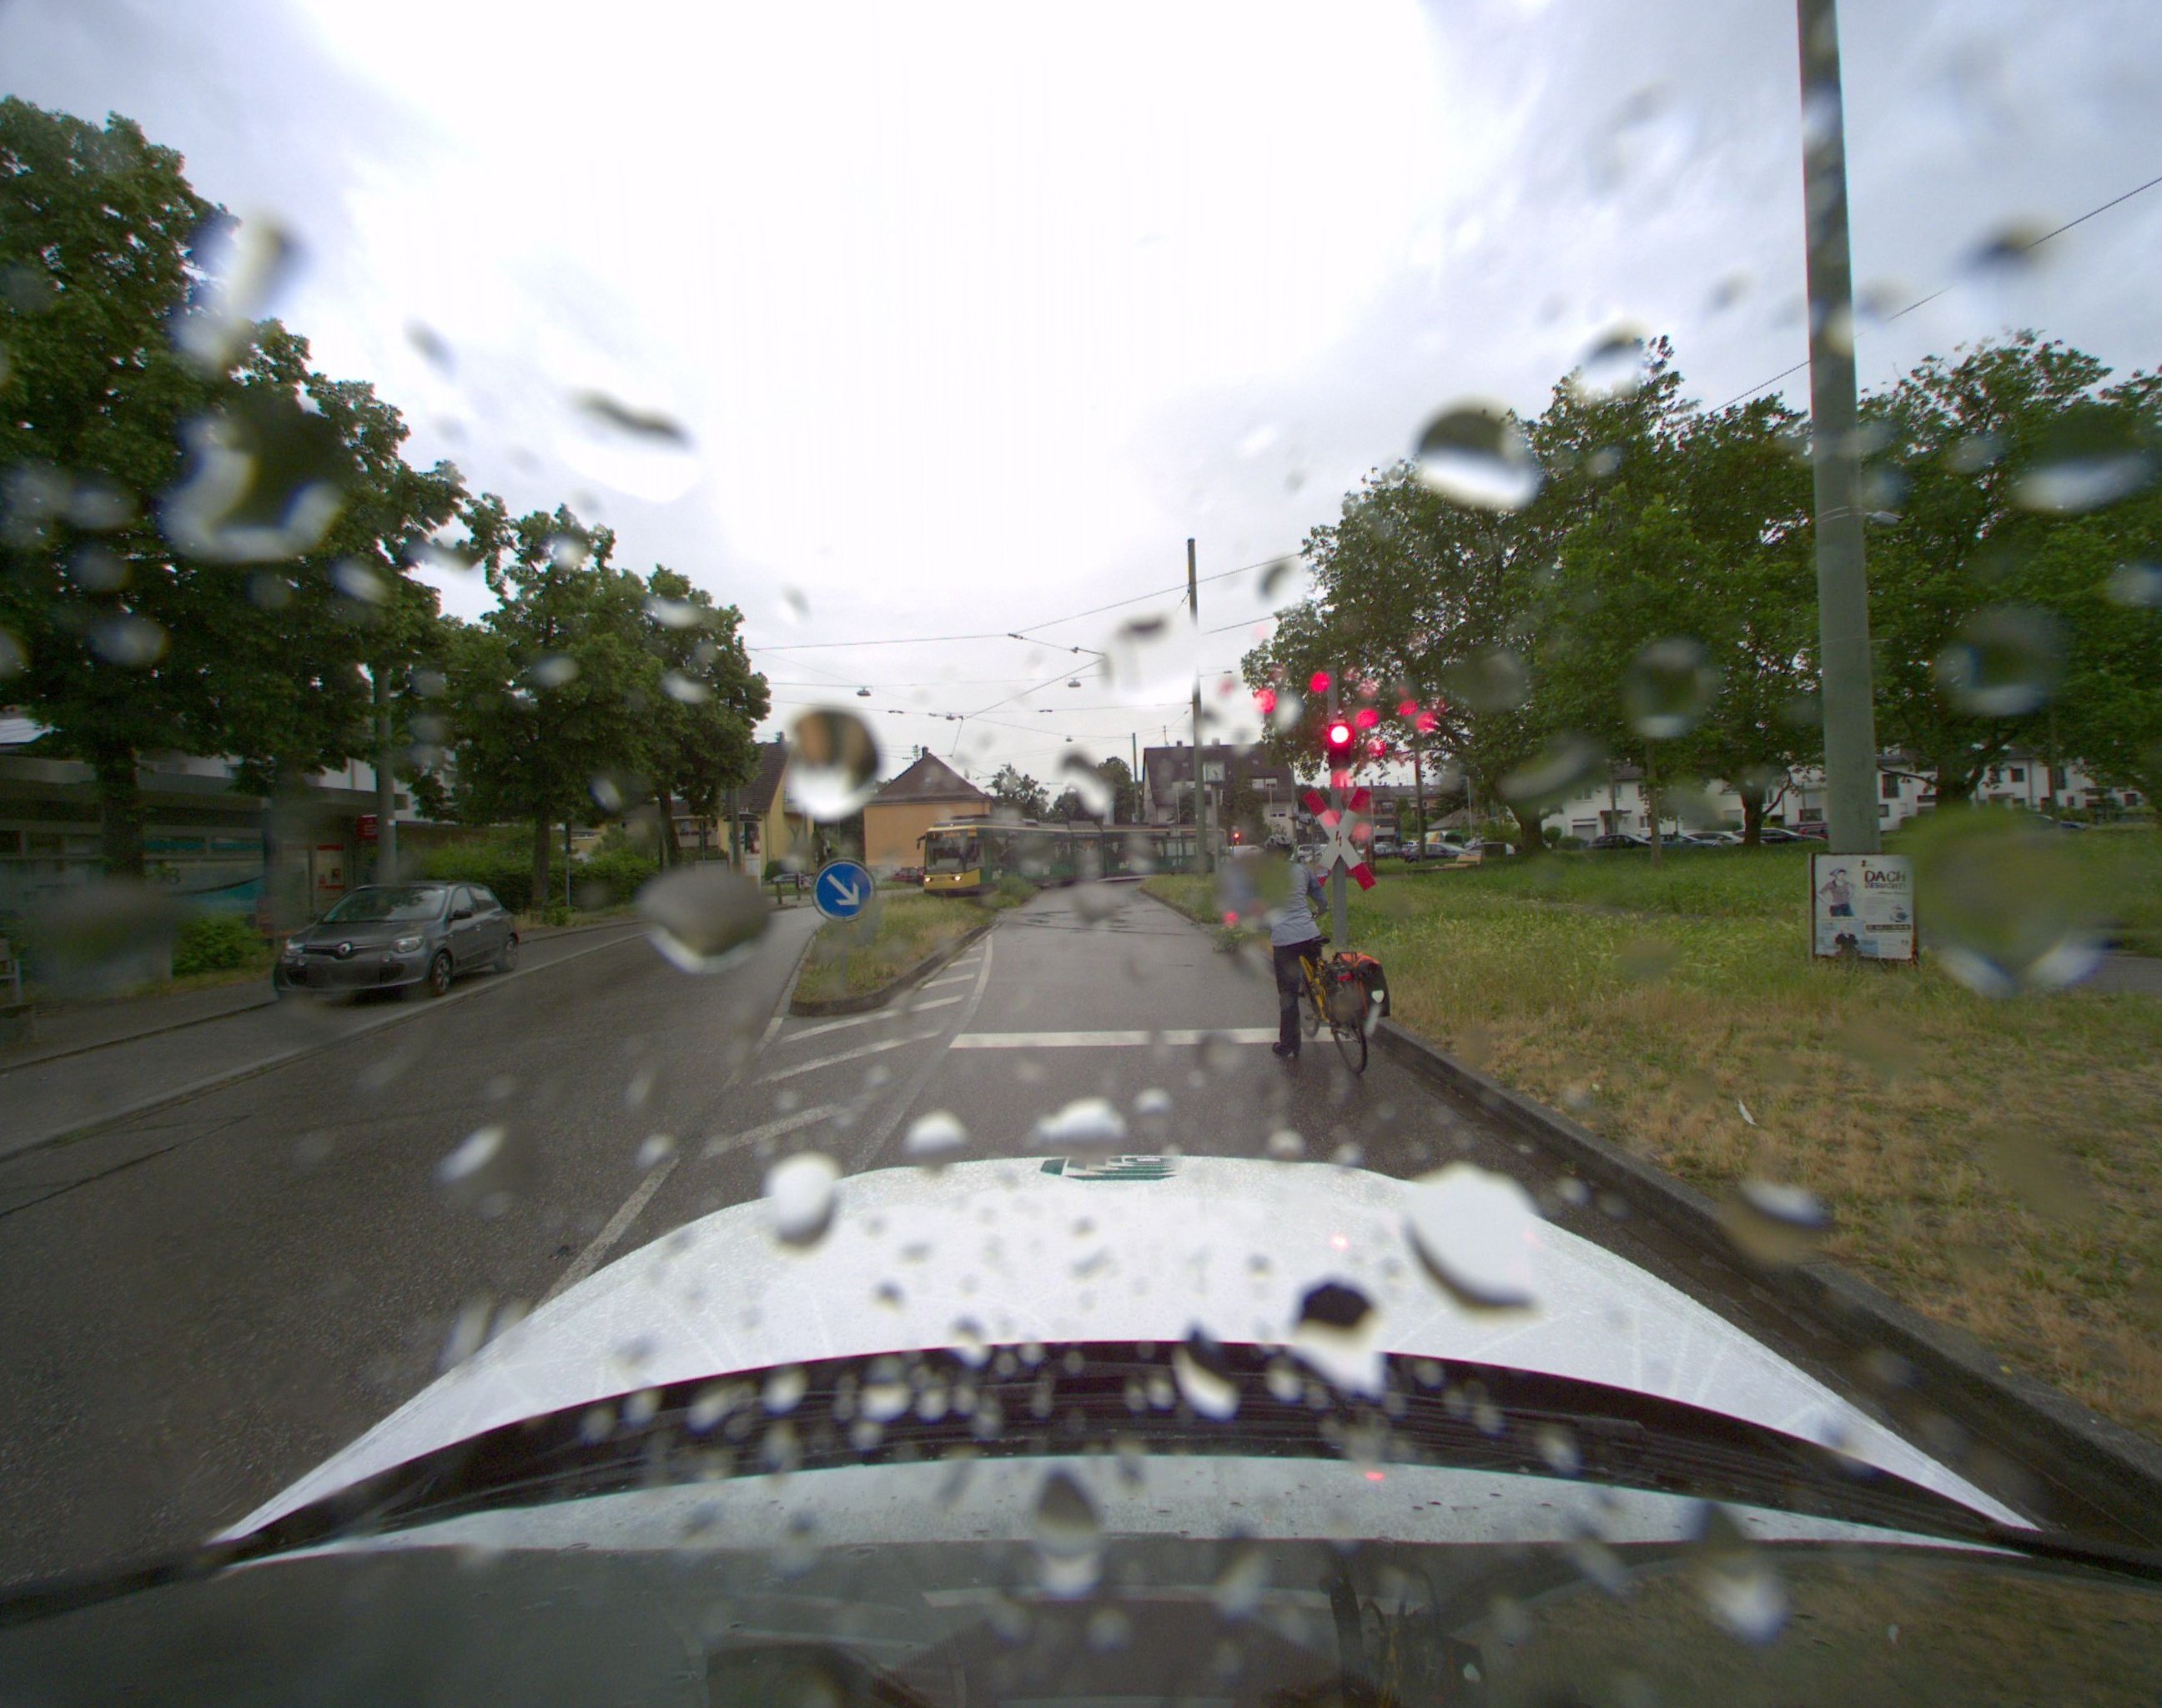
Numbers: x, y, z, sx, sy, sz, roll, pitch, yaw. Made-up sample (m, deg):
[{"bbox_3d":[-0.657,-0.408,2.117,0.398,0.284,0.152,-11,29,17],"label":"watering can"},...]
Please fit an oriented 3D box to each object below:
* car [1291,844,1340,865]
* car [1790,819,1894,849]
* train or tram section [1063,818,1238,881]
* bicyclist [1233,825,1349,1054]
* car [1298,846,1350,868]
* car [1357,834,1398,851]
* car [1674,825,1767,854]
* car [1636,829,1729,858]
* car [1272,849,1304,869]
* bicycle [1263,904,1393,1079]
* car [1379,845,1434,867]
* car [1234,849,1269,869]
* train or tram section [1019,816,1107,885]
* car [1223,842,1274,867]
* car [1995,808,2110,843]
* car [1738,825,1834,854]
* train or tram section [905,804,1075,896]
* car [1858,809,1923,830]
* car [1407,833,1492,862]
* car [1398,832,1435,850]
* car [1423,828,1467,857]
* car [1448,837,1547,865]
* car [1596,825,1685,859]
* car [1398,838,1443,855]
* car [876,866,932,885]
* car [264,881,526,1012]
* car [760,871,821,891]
[{"bbox_3d":[21.809,0.077,75.927,3.974,1.951,1.999,0,-1,-1],"label":"car"},{"bbox_3d":[42.626,-1.091,45.681,1.814,1.495,3.881,0,-1,-27],"label":"car"},{"bbox_3d":[4.764,-0.341,51.580,13.205,3.553,2.736,-1,-1,-42],"label":"train or tram section"},{"bbox_3d":[1.577,0.615,6.243,0.665,1.626,0.853,0,-1,0],"label":"bicyclist"},{"bbox_3d":[19.312,0.249,64.808,3.670,1.701,1.891,0,-1,2],"label":"car"},{"bbox_3d":[33.142,-1.239,91.035,3.968,1.791,2.003,0,-1,4],"label":"car"},{"bbox_3d":[35.704,-0.757,45.519,1.821,1.495,3.867,0,-1,-44],"label":"car"},{"bbox_3d":[33.200,-0.540,44.990,1.821,1.495,3.867,0,-1,-44],"label":"car"},{"bbox_3d":[17.974,0.429,70.703,1.823,1.640,4.024,-1,-1,27],"label":"car"},{"bbox_3d":[1.792,0.945,6.137,0.444,1.004,1.728,-2,0,1],"label":"bicycle"},{"bbox_3d":[25.893,0.203,64.952,3.670,1.701,1.891,0,-1,2],"label":"car"},{"bbox_3d":[14.741,0.449,70.390,1.975,1.640,4.024,-1,-1,27],"label":"car"},{"bbox_3d":[-0.924,-0.197,45.338,2.735,3.553,5.018,-2,-1,27],"label":"train or tram section"},{"bbox_3d":[15.627,0.066,76.038,4.381,2.325,2.000,0,-1,-1],"label":"car"},{"bbox_3d":[54.632,-1.578,45.858,1.815,1.765,3.879,0,-1,-29],"label":"car"},{"bbox_3d":[39.263,-0.783,45.407,1.821,1.495,3.867,0,-1,-44],"label":"car"},{"bbox_3d":[-3.693,-0.165,38.154,2.738,3.553,12.264,-2,-1,19],"label":"train or tram section"},{"bbox_3d":[69.996,-3.000,70.451,3.670,1.660,1.891,0,-1,2],"label":"car"},{"bbox_3d":[20.257,-0.327,44.900,1.821,1.495,3.867,0,-1,-44],"label":"car"},{"bbox_3d":[39.118,-1.466,95.043,1.998,2.014,3.978,0,-1,-16],"label":"car"},{"bbox_3d":[32.573,-0.976,72.992,1.987,2.443,4.354,0,-1,1],"label":"car"},{"bbox_3d":[20.502,-0.134,40.246,3.964,1.285,1.851,0,-1,9],"label":"car"},{"bbox_3d":[30.539,-0.615,44.531,1.821,1.798,3.721,0,-1,-44],"label":"car"},{"bbox_3d":[35.423,-0.784,84.945,3.971,1.640,1.847,0,-1,2],"label":"car"},{"bbox_3d":[-13.663,1.650,63.070,3.979,1.456,1.831,0,-1,-5],"label":"car"},{"bbox_3d":[-9.685,1.182,11.877,1.621,1.496,3.645,0,-1,-18],"label":"car"},{"bbox_3d":[-22.109,2.028,62.025,3.979,1.456,1.831,0,-1,-5],"label":"car"}]
